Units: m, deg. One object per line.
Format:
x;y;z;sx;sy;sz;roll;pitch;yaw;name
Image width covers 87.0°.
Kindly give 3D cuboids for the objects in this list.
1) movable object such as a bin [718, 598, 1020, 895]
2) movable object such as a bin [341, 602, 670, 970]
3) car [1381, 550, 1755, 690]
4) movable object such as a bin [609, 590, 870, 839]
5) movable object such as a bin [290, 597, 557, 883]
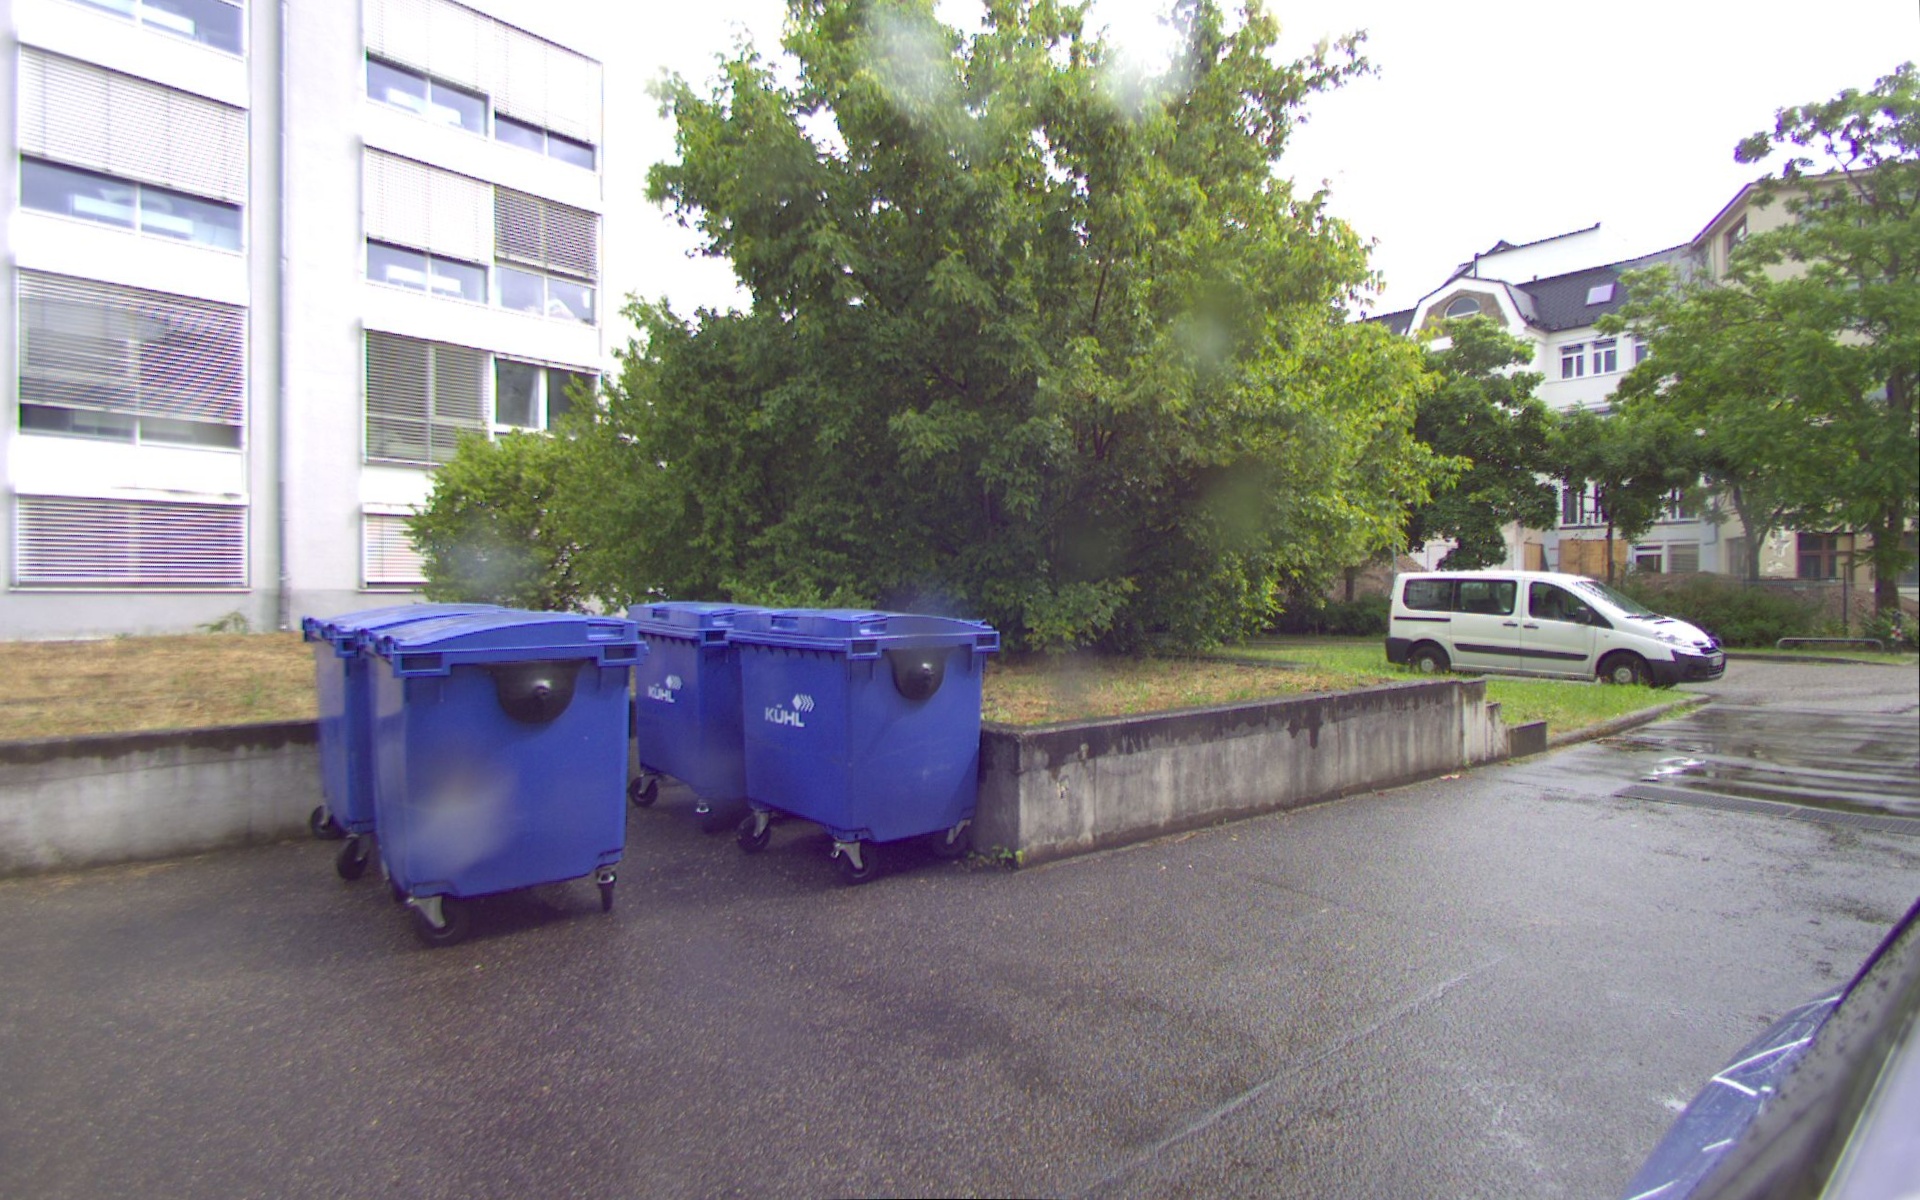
-0.520;0.666;5.460;1.076;1.308;1.341;-1;1;-39;movable object such as a bin
-2.109;0.690;4.620;1.063;1.320;1.375;0;1;-39;movable object such as a bin
9.825;0.282;16.751;2.062;1.950;4.884;-1;0;-38;car
-1.424;0.621;6.449;1.175;1.353;1.296;0;1;-39;movable object such as a bin
-2.978;0.661;5.591;1.087;1.320;1.188;0;1;-40;movable object such as a bin
